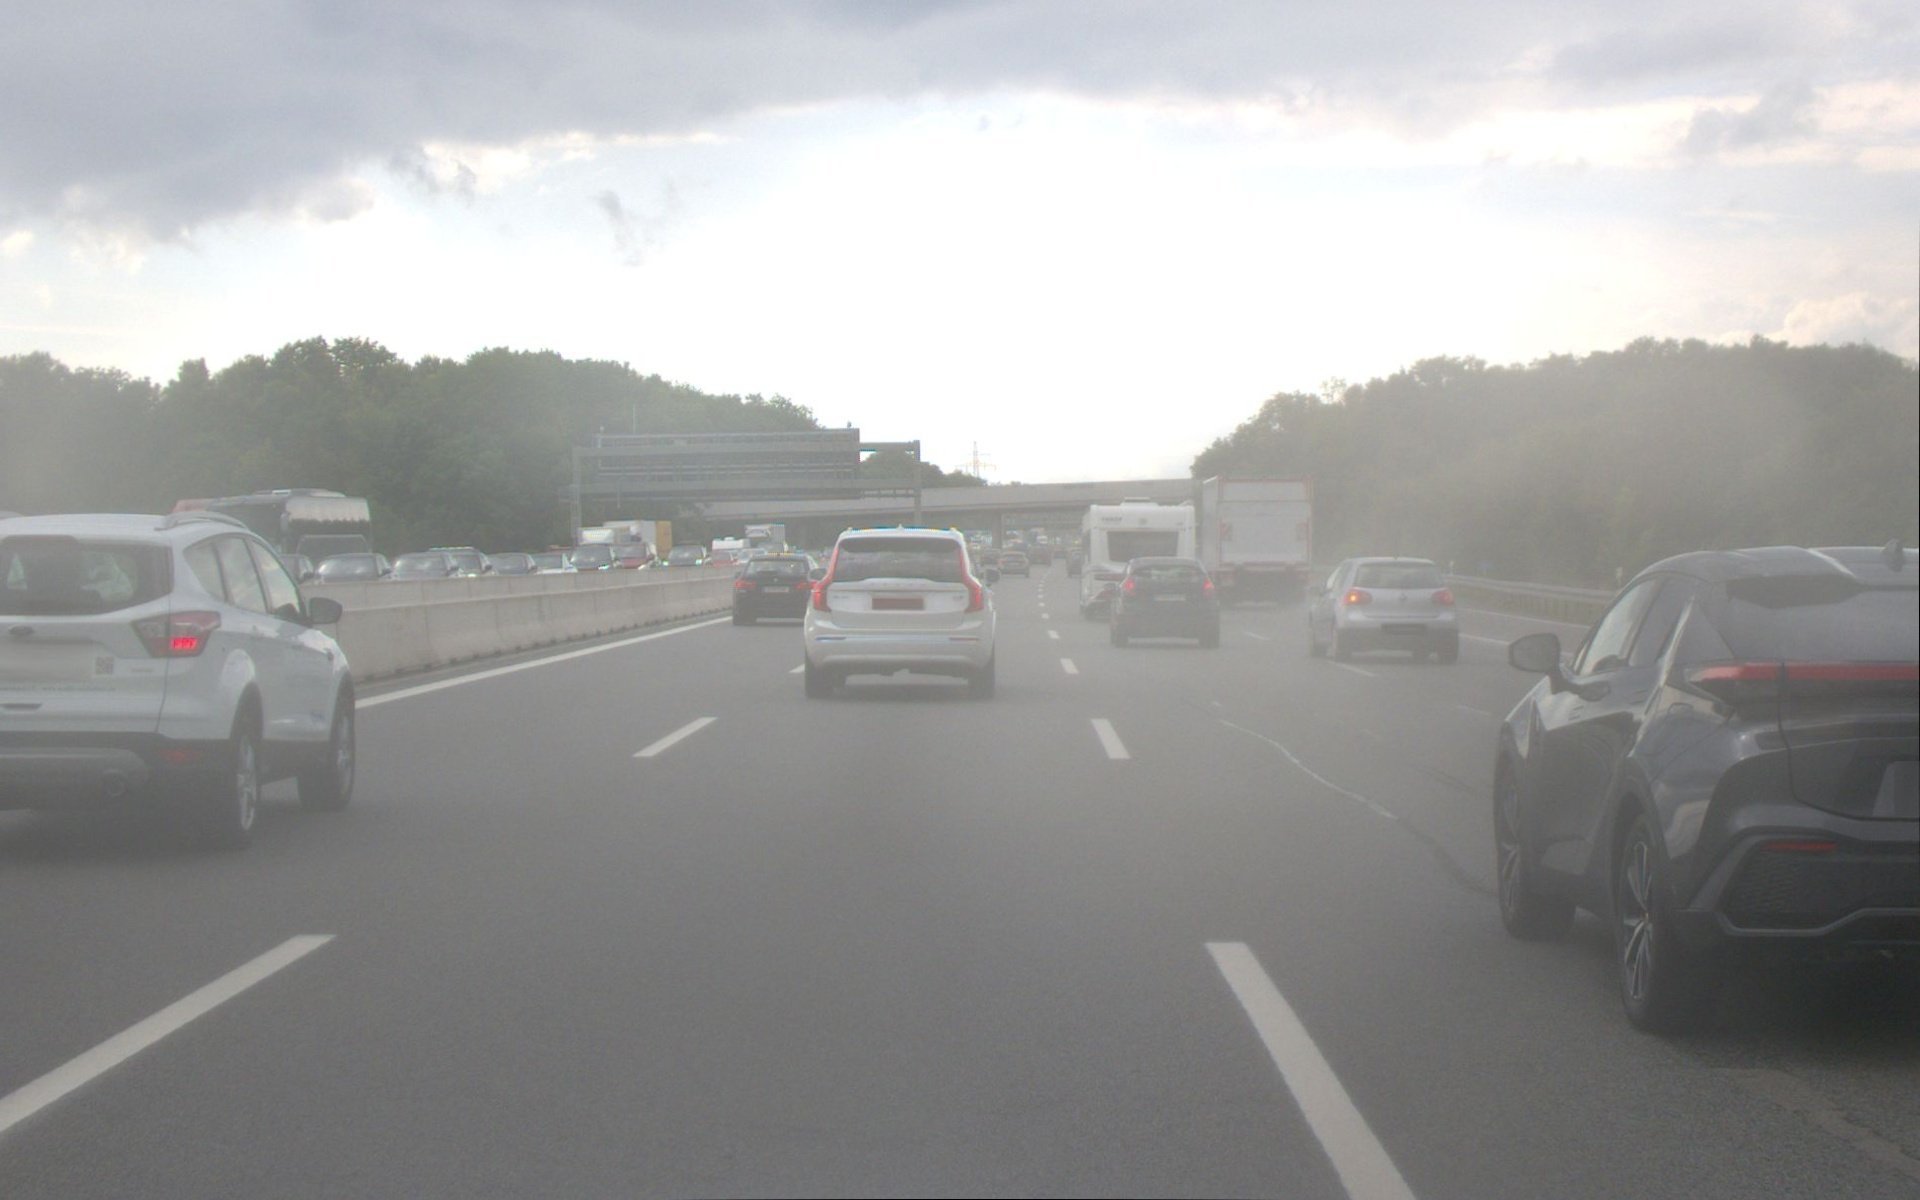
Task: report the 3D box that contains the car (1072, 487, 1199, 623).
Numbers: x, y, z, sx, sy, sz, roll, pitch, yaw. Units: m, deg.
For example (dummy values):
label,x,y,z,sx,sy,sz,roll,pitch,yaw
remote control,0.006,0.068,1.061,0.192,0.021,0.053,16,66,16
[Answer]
label,x,y,z,sx,sy,sz,roll,pitch,yaw
car,3.867,-1.028,77.124,2.567,2.885,7.533,0,1,1

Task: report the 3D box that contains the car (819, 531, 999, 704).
label,x,y,z,sx,sy,sz,roll,pitch,yaw
car,-0.536,0.134,36.355,1.781,1.710,4.353,0,1,-1

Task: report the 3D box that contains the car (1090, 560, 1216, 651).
label,x,y,z,sx,sy,sz,roll,pitch,yaw
car,3.122,0.066,56.441,1.885,1.402,4.282,0,1,1

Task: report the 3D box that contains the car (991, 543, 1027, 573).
label,x,y,z,sx,sy,sz,roll,pitch,yaw
car,2.744,-2.363,193.194,1.881,1.680,4.000,0,1,-1

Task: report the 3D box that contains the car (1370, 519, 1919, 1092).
label,x,y,z,sx,sy,sz,roll,pitch,yaw
car,2.594,0.542,11.962,1.781,1.607,4.598,0,1,0

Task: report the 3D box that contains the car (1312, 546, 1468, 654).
label,x,y,z,sx,sy,sz,roll,pitch,yaw
car,6.122,-0.026,49.295,1.795,1.472,4.038,0,1,1

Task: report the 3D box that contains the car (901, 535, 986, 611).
label,x,y,z,sx,sy,sz,roll,pitch,yaw
car,-0.397,-0.640,78.602,1.881,1.680,4.000,0,1,-1

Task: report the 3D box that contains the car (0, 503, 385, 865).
label,x,y,z,sx,sy,sz,roll,pitch,yaw
car,-4.388,0.339,18.445,1.815,1.684,4.852,0,1,0

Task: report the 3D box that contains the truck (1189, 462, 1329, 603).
label,x,y,z,sx,sy,sz,roll,pitch,yaw
truck,8.167,-1.851,94.970,3.133,3.697,9.847,0,1,1

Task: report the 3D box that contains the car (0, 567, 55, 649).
label,x,y,z,sx,sy,sz,roll,pitch,yaw
car,-24.595,0.171,87.249,1.993,2.007,4.425,0,1,1

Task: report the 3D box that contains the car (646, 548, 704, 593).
label,x,y,z,sx,sy,sz,roll,pitch,yaw
car,-12.203,-1.287,147.616,1.993,1.897,4.503,0,1,2

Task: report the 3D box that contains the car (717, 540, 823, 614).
label,x,y,z,sx,sy,sz,roll,pitch,yaw
car,-3.890,-0.492,70.898,1.781,1.476,4.353,0,1,2
